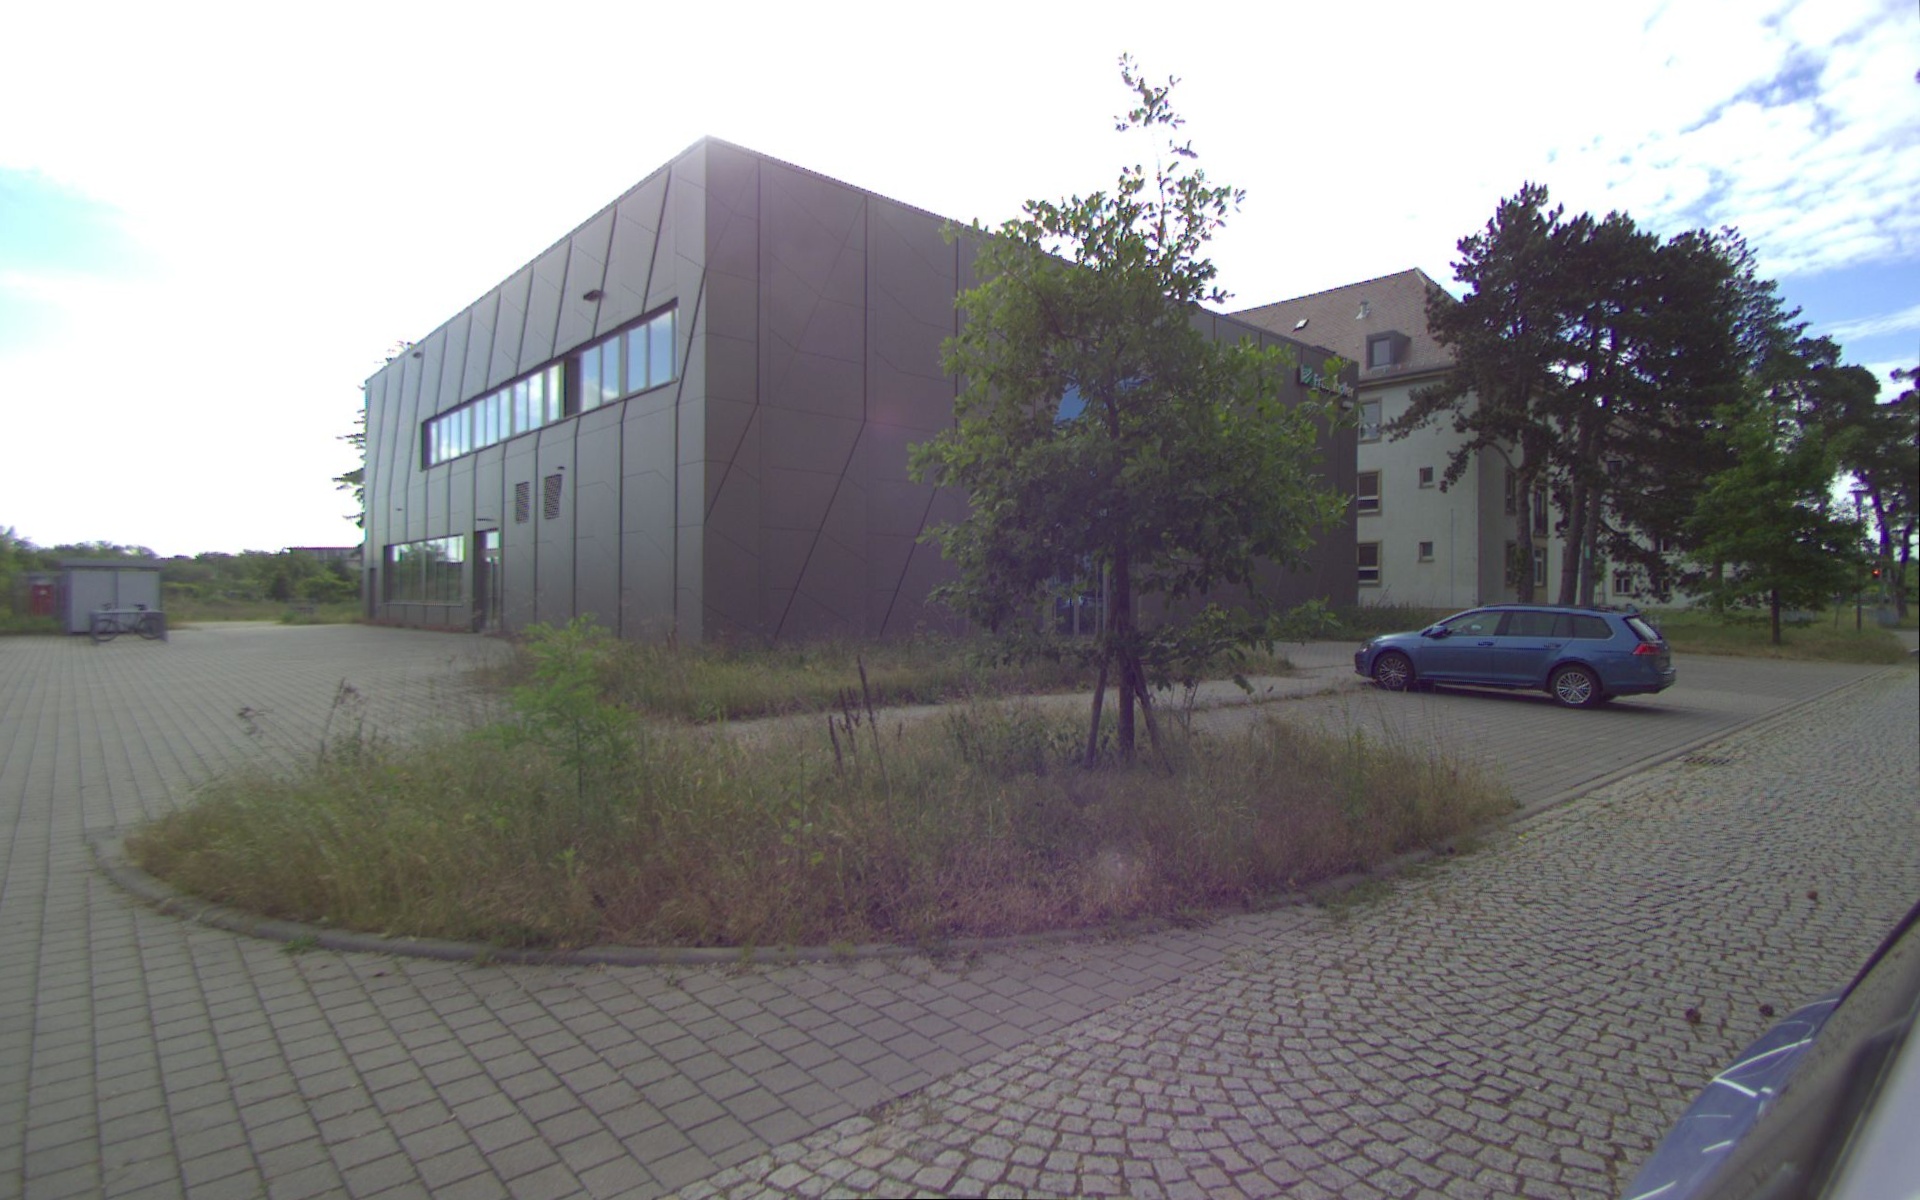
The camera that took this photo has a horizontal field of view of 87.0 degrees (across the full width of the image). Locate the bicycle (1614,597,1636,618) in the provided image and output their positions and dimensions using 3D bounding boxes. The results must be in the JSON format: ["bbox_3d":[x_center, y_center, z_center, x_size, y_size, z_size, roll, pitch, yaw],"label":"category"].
[{"bbox_3d":[43.229,0.479,65.771,1.803,1.349,0.573,0,0,-35],"label":"bicycle"}]

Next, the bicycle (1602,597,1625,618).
[{"bbox_3d":[42.727,0.467,66.160,1.803,1.349,0.573,0,0,-35],"label":"bicycle"}]

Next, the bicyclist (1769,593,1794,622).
[{"bbox_3d":[47.662,0.441,58.697,0.908,1.656,0.956,0,0,25],"label":"bicyclist"}]

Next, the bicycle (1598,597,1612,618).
[{"bbox_3d":[42.404,0.478,66.537,0.480,1.349,1.810,0,0,42],"label":"bicycle"}]

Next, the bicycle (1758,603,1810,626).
[{"bbox_3d":[47.724,0.815,58.643,2.141,1.292,0.956,0,0,26],"label":"bicycle"}]

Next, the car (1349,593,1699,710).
[{"bbox_3d":[8.768,0.693,16.039,1.794,1.461,4.524,0,2,-45],"label":"car"}]

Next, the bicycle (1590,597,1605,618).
[{"bbox_3d":[42.123,0.488,66.867,0.570,1.349,1.810,0,0,42],"label":"bicycle"}]

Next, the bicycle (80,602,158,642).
[{"bbox_3d":[-24.295,0.628,29.260,1.733,1.113,0.521,0,-1,-41],"label":"bicycle"}]

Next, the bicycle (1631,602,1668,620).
[{"bbox_3d":[43.164,0.676,63.386,0.562,1.098,1.836,-2,1,-38],"label":"bicycle"}]
